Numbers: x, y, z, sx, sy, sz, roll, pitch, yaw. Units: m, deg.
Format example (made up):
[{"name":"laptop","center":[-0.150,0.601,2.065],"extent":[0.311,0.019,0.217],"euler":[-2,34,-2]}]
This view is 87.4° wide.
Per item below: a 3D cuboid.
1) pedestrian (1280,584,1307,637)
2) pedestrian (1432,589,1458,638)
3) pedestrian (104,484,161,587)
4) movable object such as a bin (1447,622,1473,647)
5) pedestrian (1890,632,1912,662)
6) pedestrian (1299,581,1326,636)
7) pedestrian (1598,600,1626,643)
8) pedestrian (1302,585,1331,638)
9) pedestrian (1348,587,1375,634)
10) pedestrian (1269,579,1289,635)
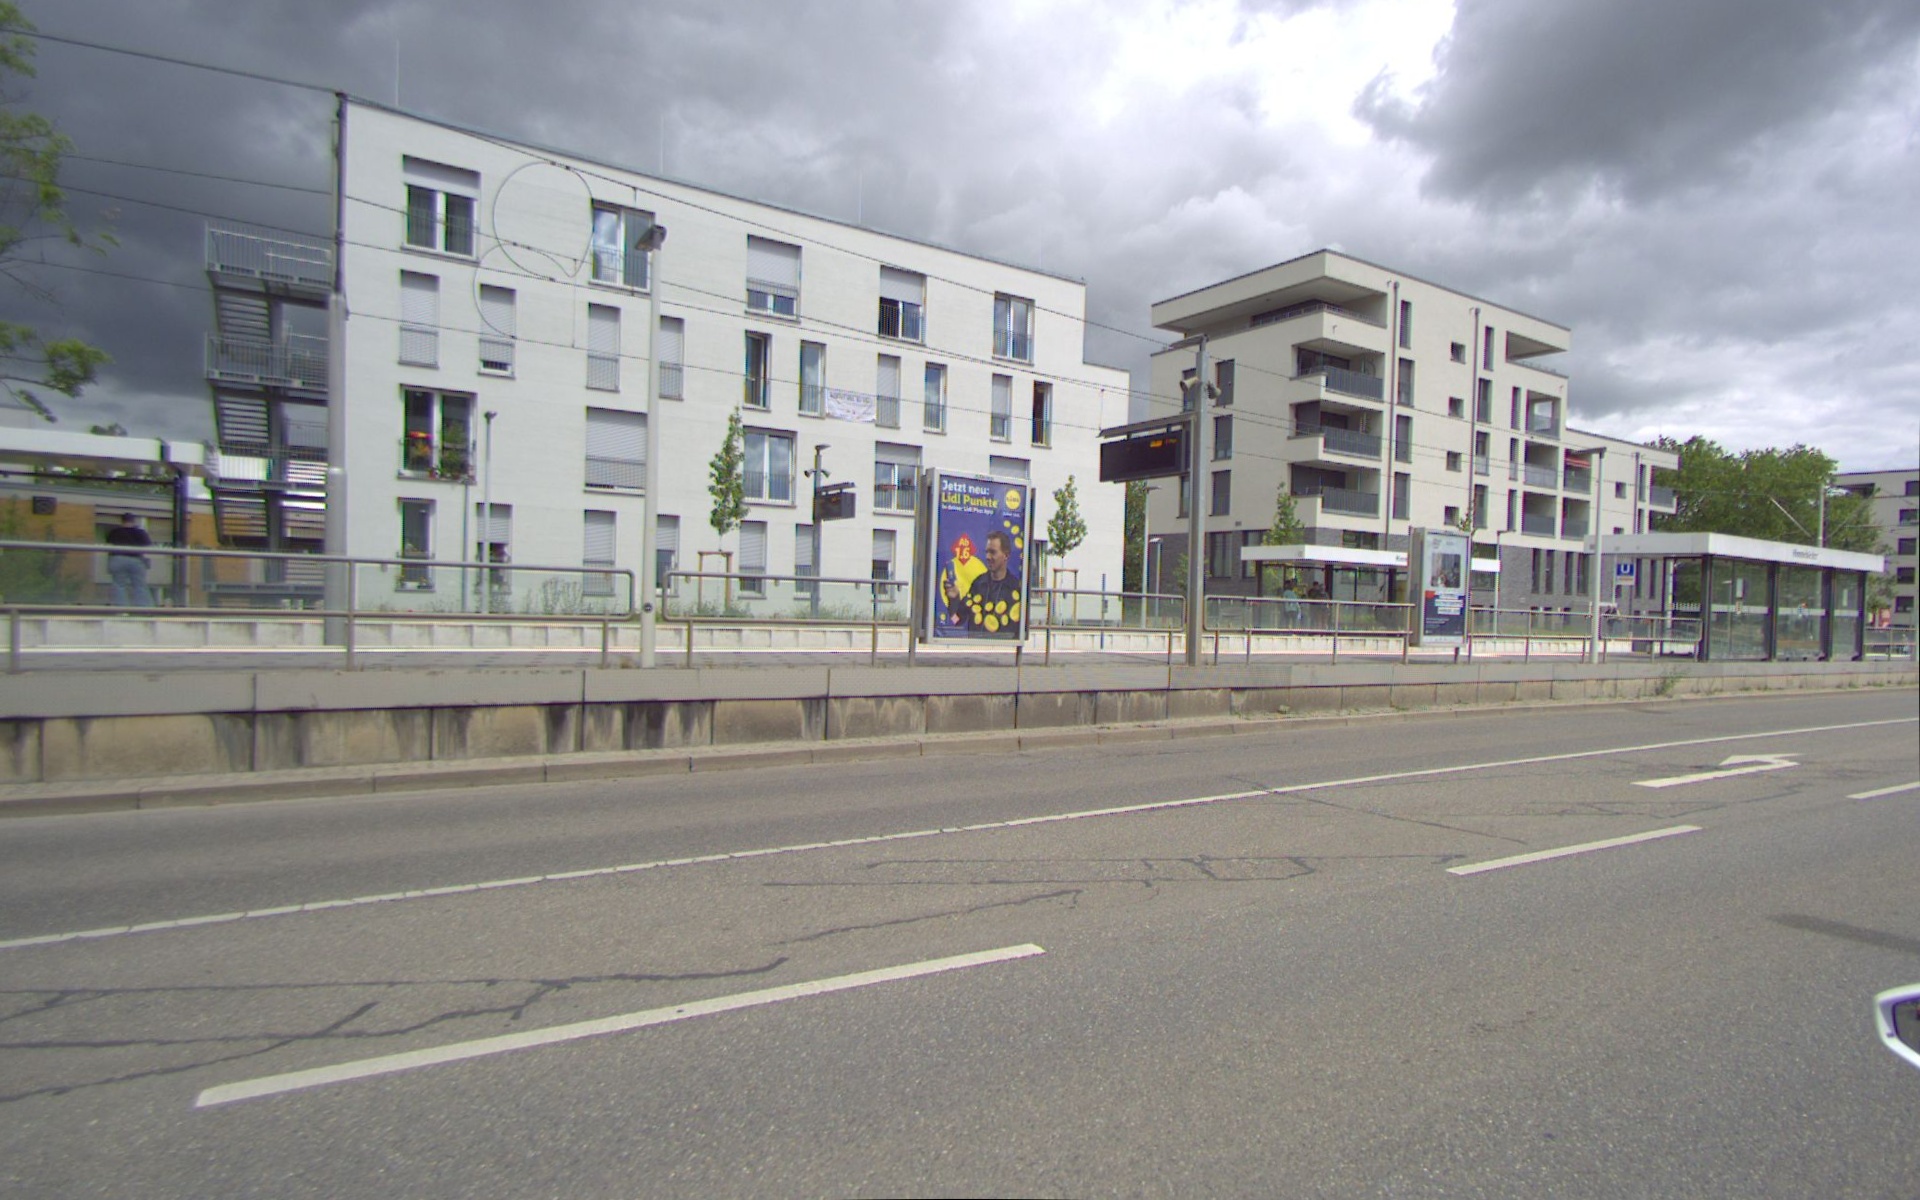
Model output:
[{"name":"pedestrian","center":[10.299,0.327,31.047],"extent":[0.664,1.618,0.489],"euler":[2,0,10]},{"name":"pedestrian","center":[17.814,0.490,36.881],"extent":[0.670,1.789,0.558],"euler":[2,0,-31]},{"name":"pedestrian","center":[-13.001,-0.989,15.800],"extent":[0.540,1.551,0.738],"euler":[2,0,-29]},{"name":"movable object such as a bin","center":[18.061,1.247,36.303],"extent":[0.670,0.861,0.558],"euler":[2,0,-31]},{"name":"pedestrian","center":[68.736,3.434,73.387],"extent":[0.925,2.162,0.910],"euler":[2,0,-33]},{"name":"pedestrian","center":[11.590,0.284,33.004],"extent":[0.664,1.789,0.489],"euler":[2,0,2]},{"name":"pedestrian","center":[27.749,0.920,42.762],"extent":[0.924,1.789,0.671],"euler":[2,0,-35]},{"name":"pedestrian","center":[11.078,0.354,31.224],"extent":[0.664,1.618,0.489],"euler":[2,0,2]},{"name":"pedestrian","center":[13.889,0.356,34.756],"extent":[0.670,1.575,0.558],"euler":[2,0,-31]},{"name":"pedestrian","center":[10.165,0.233,32.011],"extent":[0.479,1.748,0.677],"euler":[2,0,23]}]
